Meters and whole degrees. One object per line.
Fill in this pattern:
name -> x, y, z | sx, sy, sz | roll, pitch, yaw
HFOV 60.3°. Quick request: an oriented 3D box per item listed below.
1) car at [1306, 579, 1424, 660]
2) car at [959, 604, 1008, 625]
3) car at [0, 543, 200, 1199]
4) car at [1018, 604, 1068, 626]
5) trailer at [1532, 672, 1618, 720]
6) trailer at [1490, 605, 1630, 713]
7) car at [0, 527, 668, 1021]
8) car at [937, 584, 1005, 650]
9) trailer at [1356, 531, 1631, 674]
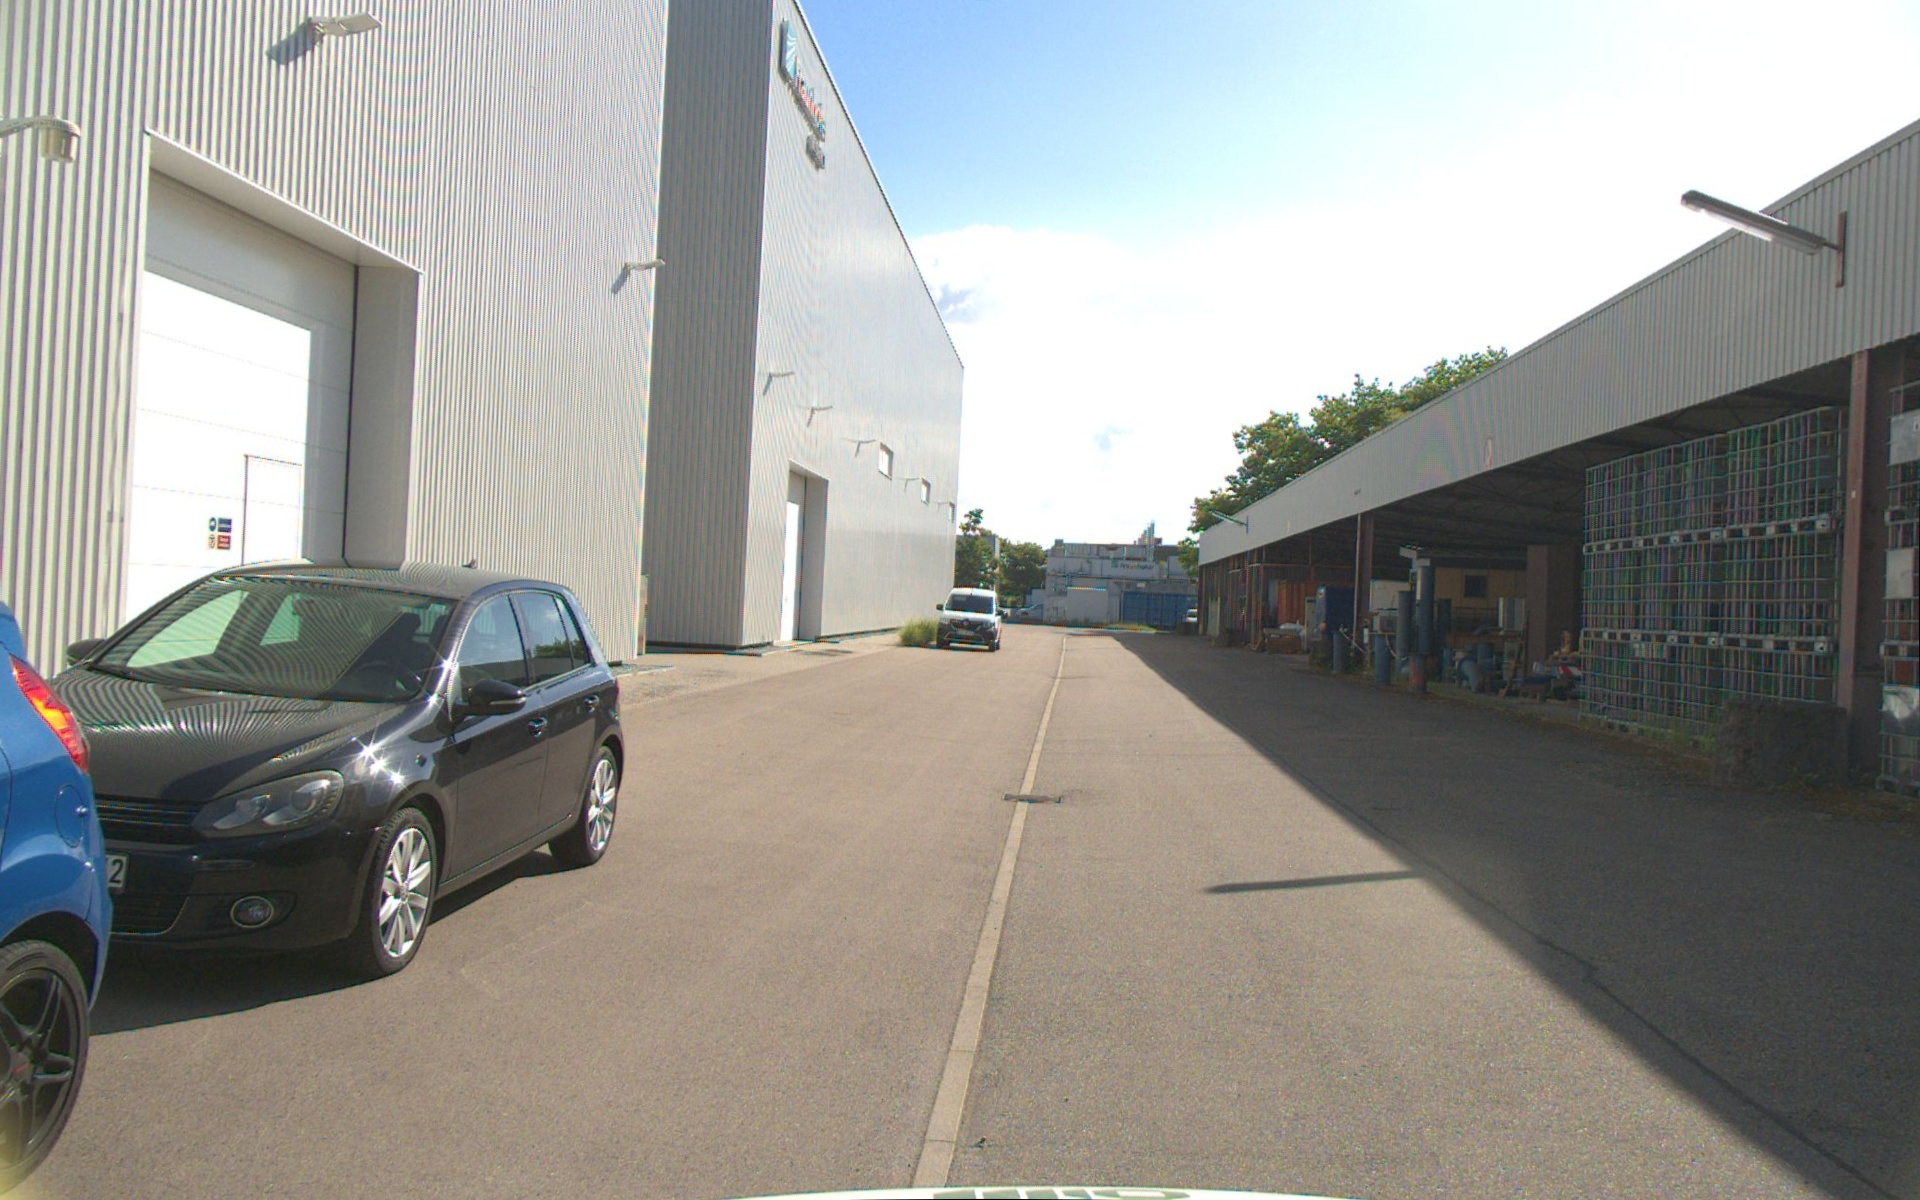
car -> 13.319, 0.640, 54.574 | 3.431, 2.484, 2.001 | 2, 0, 4
car -> 1.870, 1.148, 132.123 | 3.804, 1.487, 1.624 | 3, 0, 3
car -> -2.921, 0.559, 2.497 | 1.586, 1.472, 3.766 | 4, 0, 2
car -> 6.548, 1.174, 130.909 | 3.803, 1.487, 1.624 | 3, 0, 6
trailer -> 9.090, 1.415, 24.465 | 0.951, 0.577, 0.733 | 5, 1, -1
trailer -> 9.993, 0.957, 27.643 | 1.514, 1.545, 1.913 | 5, 1, -1
car -> -2.648, 0.571, 7.378 | 1.616, 1.471, 3.879 | 6, 0, 4
car -> 0.369, 0.499, 50.085 | 1.868, 1.825, 4.001 | 3, 0, 2
trailer -> 13.859, 0.061, 43.376 | 6.255, 3.429, 2.826 | 2, 0, 3
